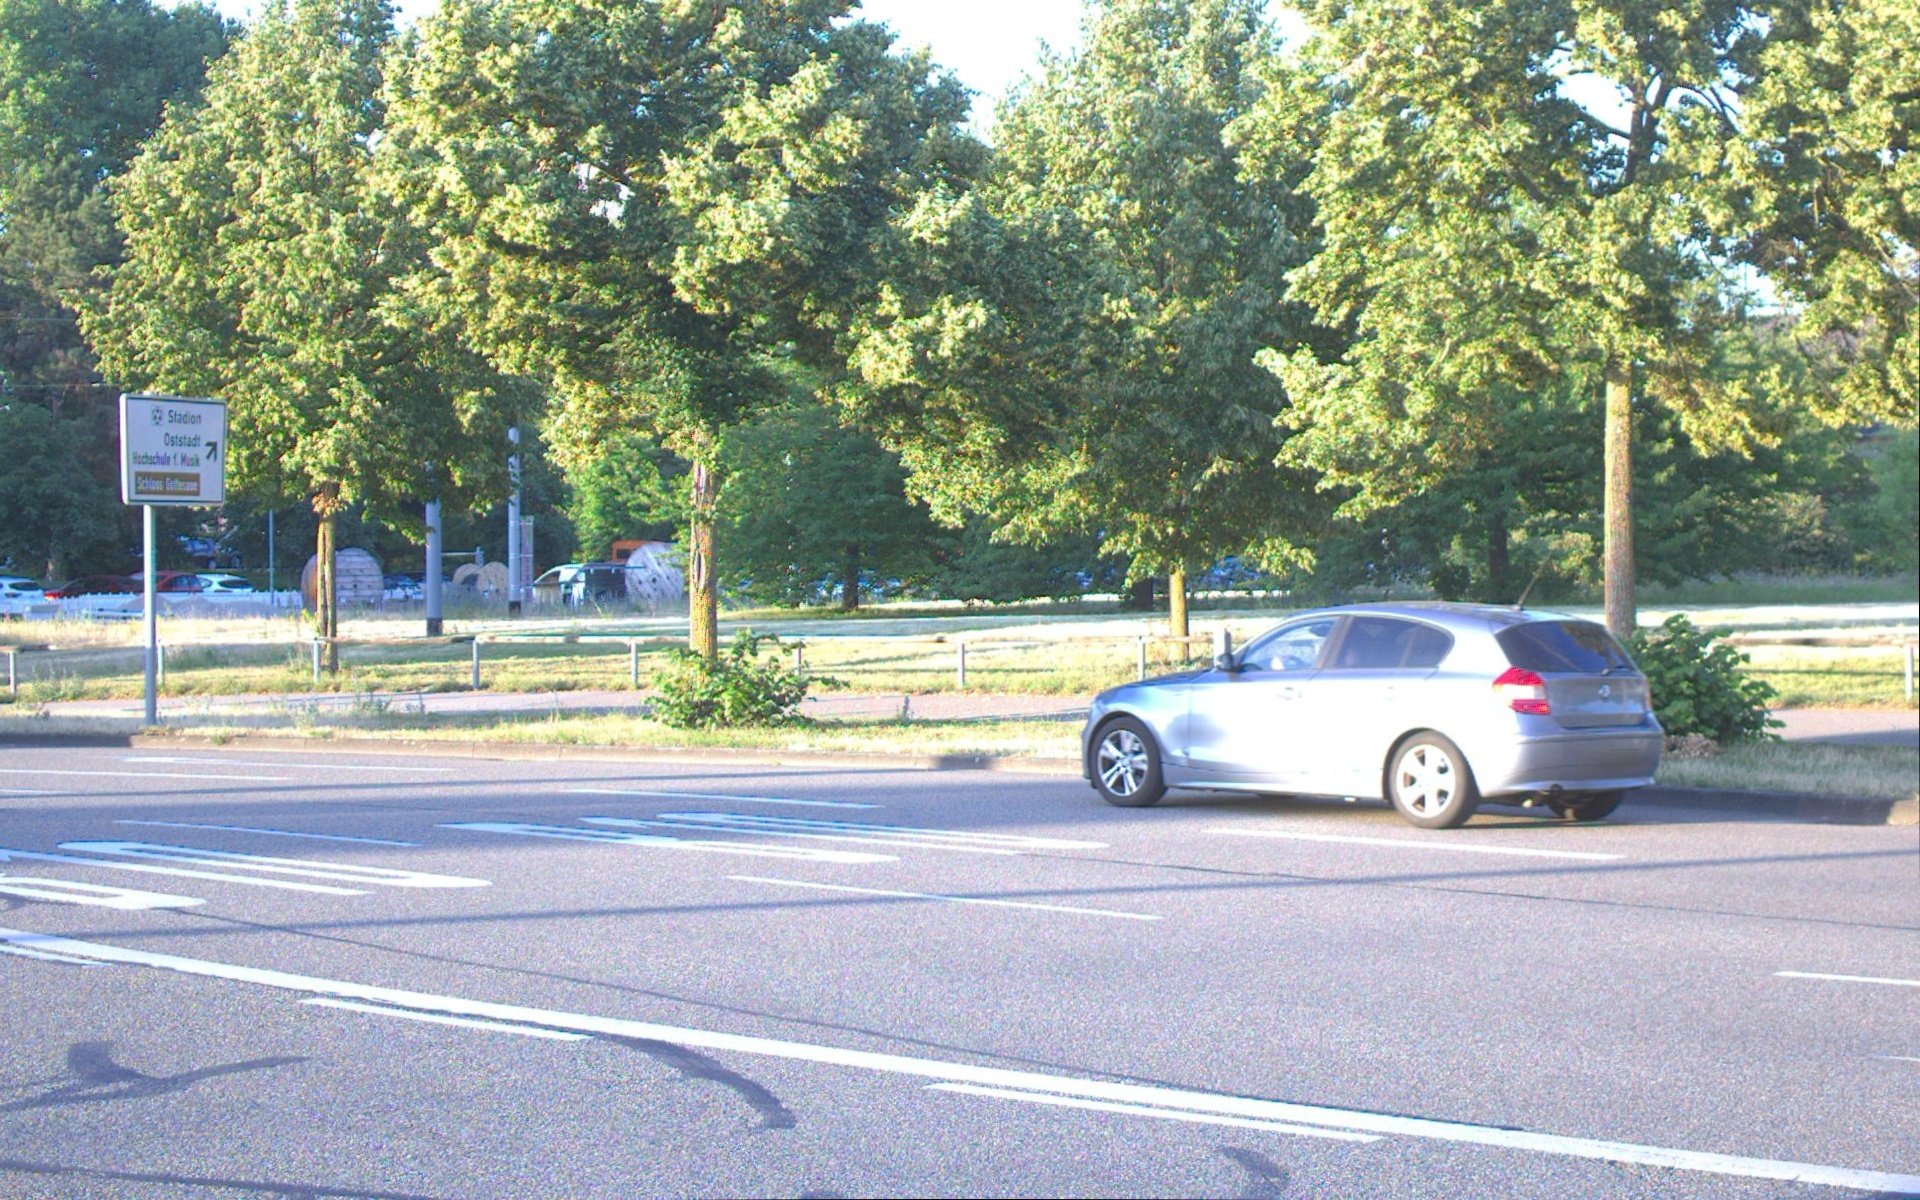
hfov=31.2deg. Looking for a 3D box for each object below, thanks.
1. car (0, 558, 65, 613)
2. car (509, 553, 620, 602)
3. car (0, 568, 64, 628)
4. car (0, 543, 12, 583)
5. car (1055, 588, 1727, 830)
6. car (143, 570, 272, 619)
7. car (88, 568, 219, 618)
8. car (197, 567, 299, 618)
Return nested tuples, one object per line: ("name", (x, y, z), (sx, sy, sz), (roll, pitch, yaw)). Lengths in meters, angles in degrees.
("car", (-35.221, -0.529, 125.812), (4.582, 2.007, 2.001), (-1, 1, -9))
("car", (-13.218, -0.757, 114.886), (1.734, 1.612, 3.998), (-1, 1, -41))
("car", (-33.136, -0.072, 117.678), (4.582, 2.007, 2.001), (-1, 1, -9))
("car", (-42.400, -1.552, 145.369), (3.988, 1.700, 2.000), (0, 1, 7))
("car", (2.745, 0.639, 22.584), (1.863, 1.385, 4.160), (-1, 1, -43))
("car", (-25.360, -0.185, 115.828), (3.994, 1.598, 1.996), (0, 1, 33))
("car", (-26.764, -0.241, 114.099), (3.994, 1.598, 1.996), (0, 1, 33))
("car", (-26.807, -0.299, 129.307), (1.994, 1.746, 4.597), (-1, 2, -37))
